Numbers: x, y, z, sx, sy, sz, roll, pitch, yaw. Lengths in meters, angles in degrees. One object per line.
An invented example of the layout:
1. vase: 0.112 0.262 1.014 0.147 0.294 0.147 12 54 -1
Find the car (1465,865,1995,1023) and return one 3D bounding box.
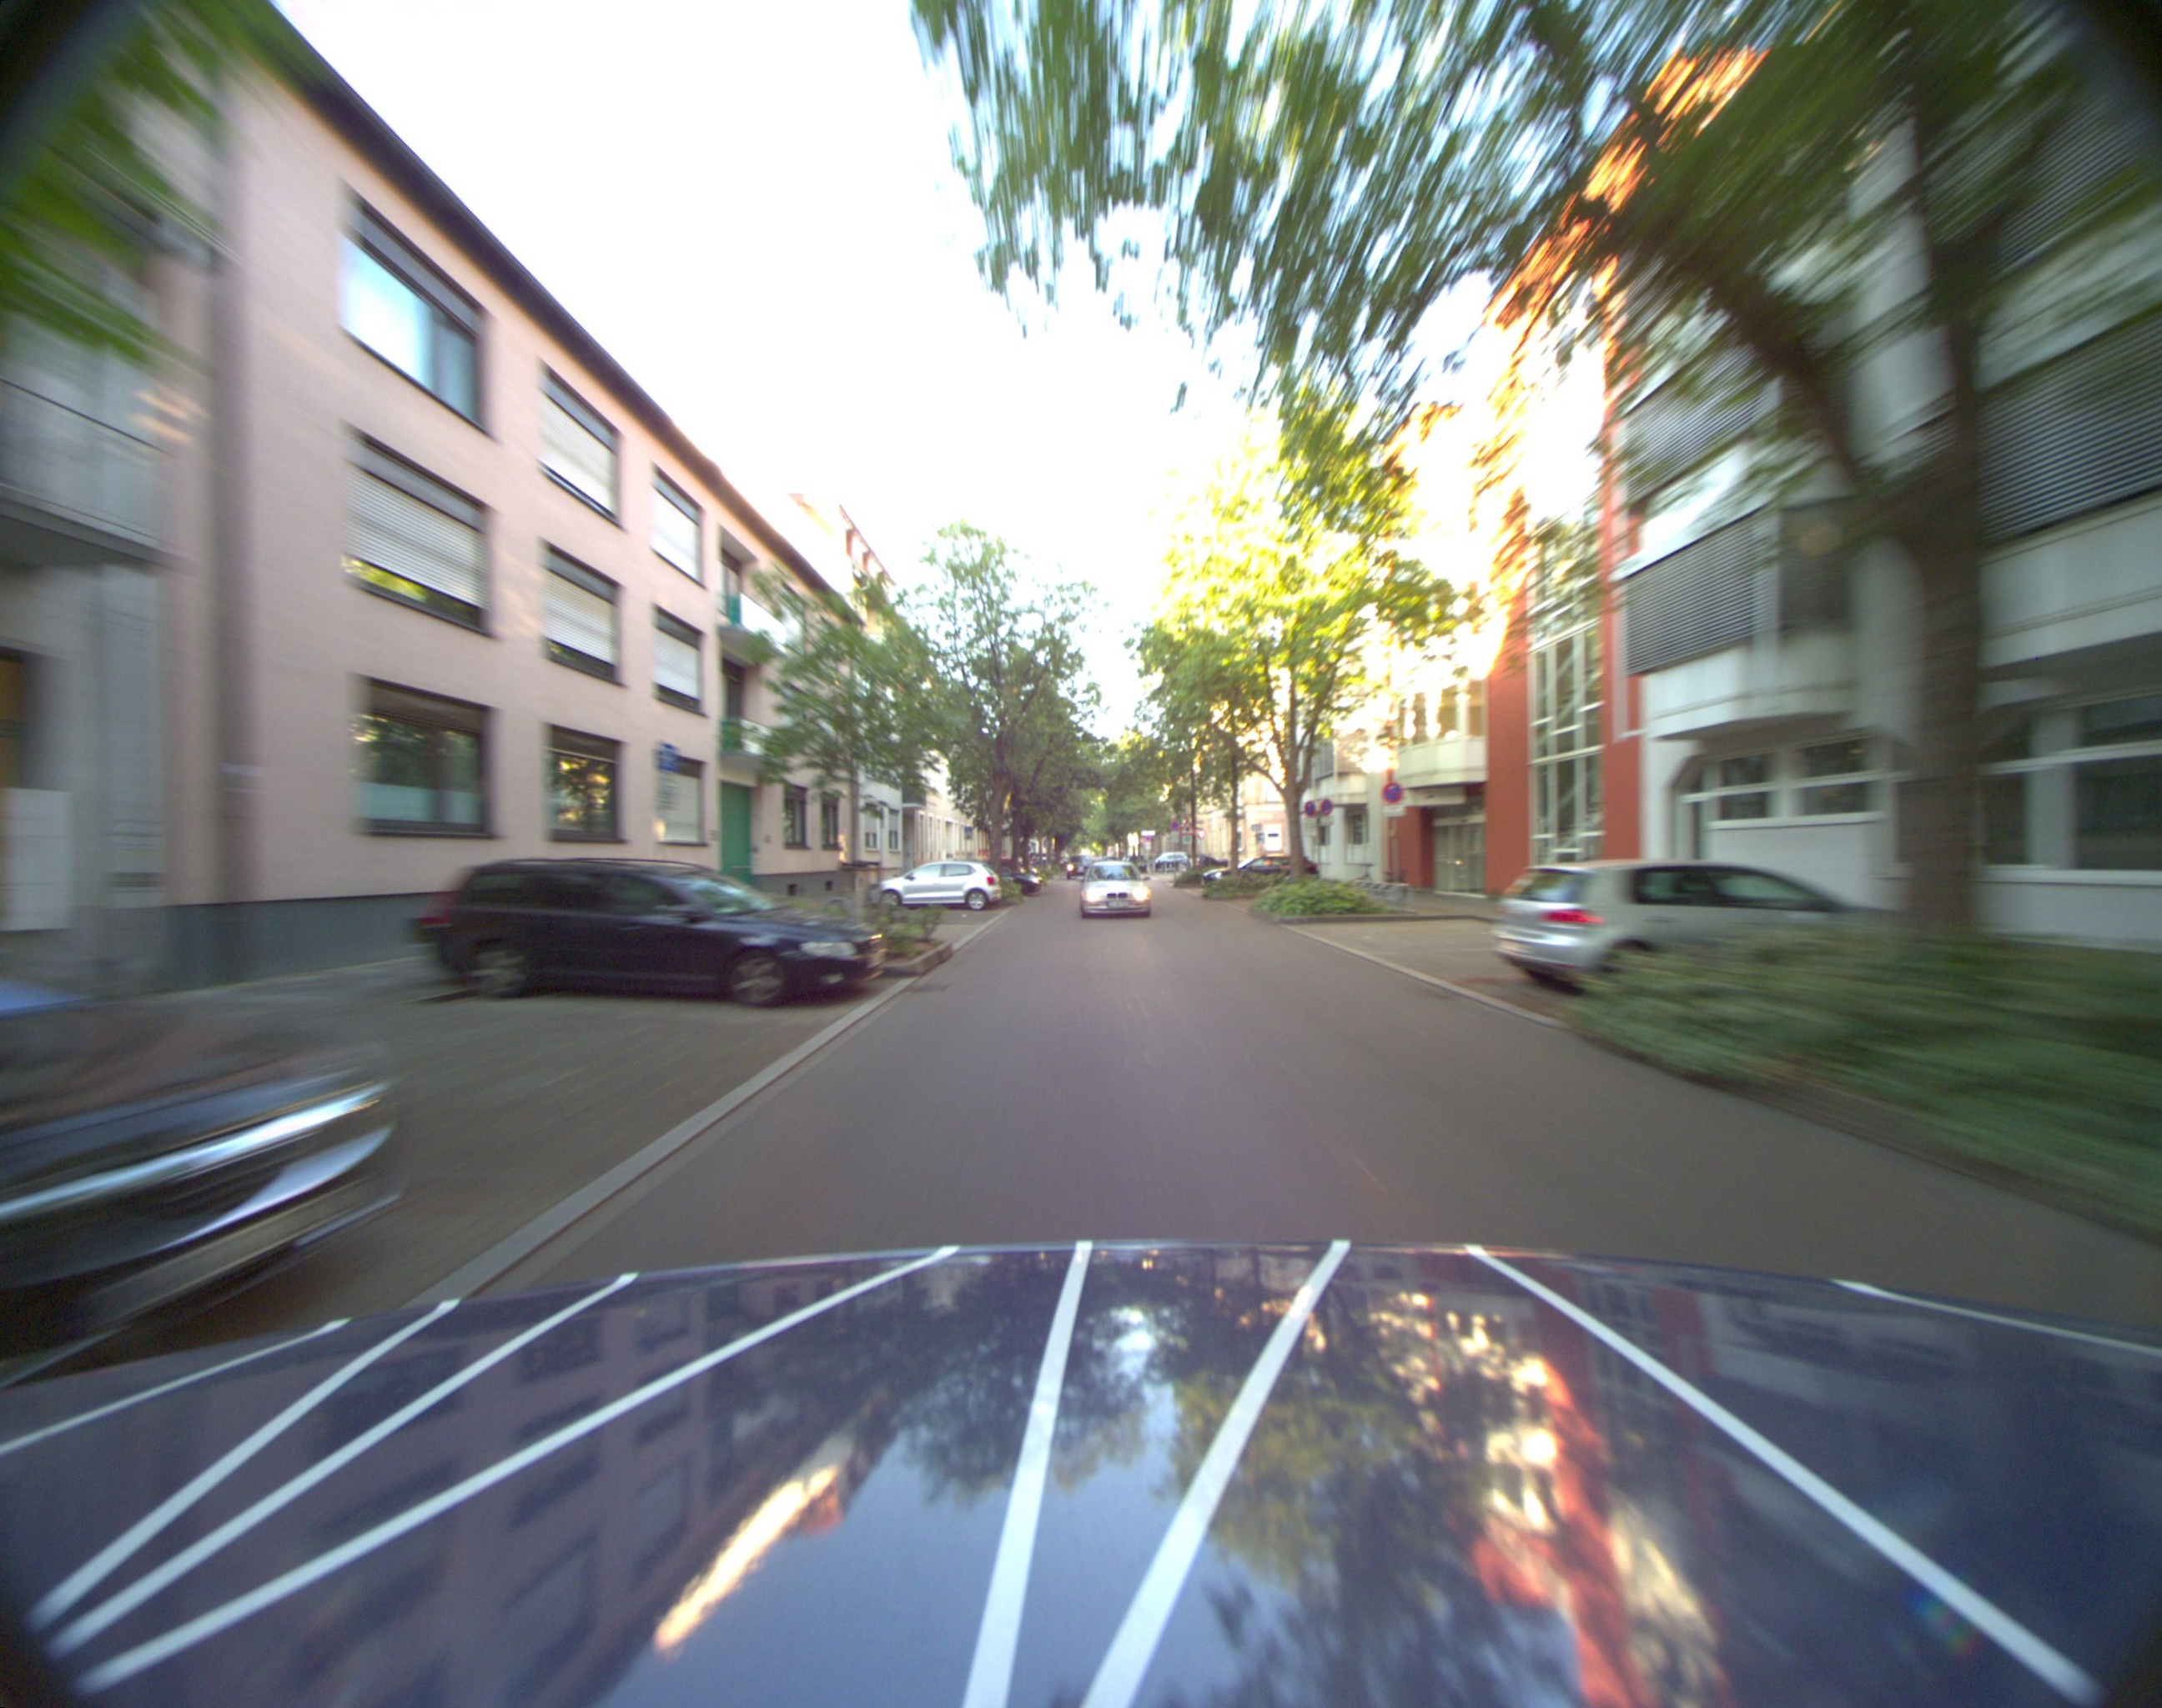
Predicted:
1. car: 6.840 0.903 8.422 4.178 1.460 1.953 -1 0 1

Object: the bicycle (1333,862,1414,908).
1. bicycle: 7.900 0.824 20.535 1.964 1.170 0.656 -1 1 -6

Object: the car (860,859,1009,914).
1. car: -4.248 0.933 22.596 4.093 1.482 1.797 -1 0 -2

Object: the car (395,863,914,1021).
1. car: -4.621 0.898 8.771 4.851 1.440 2.042 1 1 3

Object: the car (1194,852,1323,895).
1. car: 6.762 0.718 29.300 4.520 1.517 1.871 -1 0 0

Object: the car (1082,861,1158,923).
1. car: 0.930 0.908 19.856 1.736 1.363 4.332 -1 0 1

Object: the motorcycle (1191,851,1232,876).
1. motorcycle: 7.739 0.561 45.033 2.234 1.461 0.900 -1 1 -22

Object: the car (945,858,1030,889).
1. car: -4.285 0.877 35.420 3.846 1.403 1.712 0 0 -4

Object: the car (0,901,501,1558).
1. car: -4.861 0.896 2.307 4.689 1.380 2.000 2 1 2

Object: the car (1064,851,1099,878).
1. car: 0.092 0.650 49.665 1.892 1.636 4.001 -2 0 5

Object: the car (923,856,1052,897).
1. car: -3.683 0.879 30.566 4.886 1.488 1.988 -1 0 1

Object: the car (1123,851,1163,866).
1. car: 7.163 0.508 88.371 4.529 1.706 2.000 -1 1 1

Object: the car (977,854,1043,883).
1. car: -4.078 0.823 44.104 3.731 1.544 1.754 -1 1 -2

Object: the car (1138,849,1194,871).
1. car: 7.179 0.505 64.297 4.601 1.725 2.142 -1 0 5

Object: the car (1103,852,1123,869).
1. car: 3.326 0.626 79.293 1.787 1.679 4.385 -1 0 -2
